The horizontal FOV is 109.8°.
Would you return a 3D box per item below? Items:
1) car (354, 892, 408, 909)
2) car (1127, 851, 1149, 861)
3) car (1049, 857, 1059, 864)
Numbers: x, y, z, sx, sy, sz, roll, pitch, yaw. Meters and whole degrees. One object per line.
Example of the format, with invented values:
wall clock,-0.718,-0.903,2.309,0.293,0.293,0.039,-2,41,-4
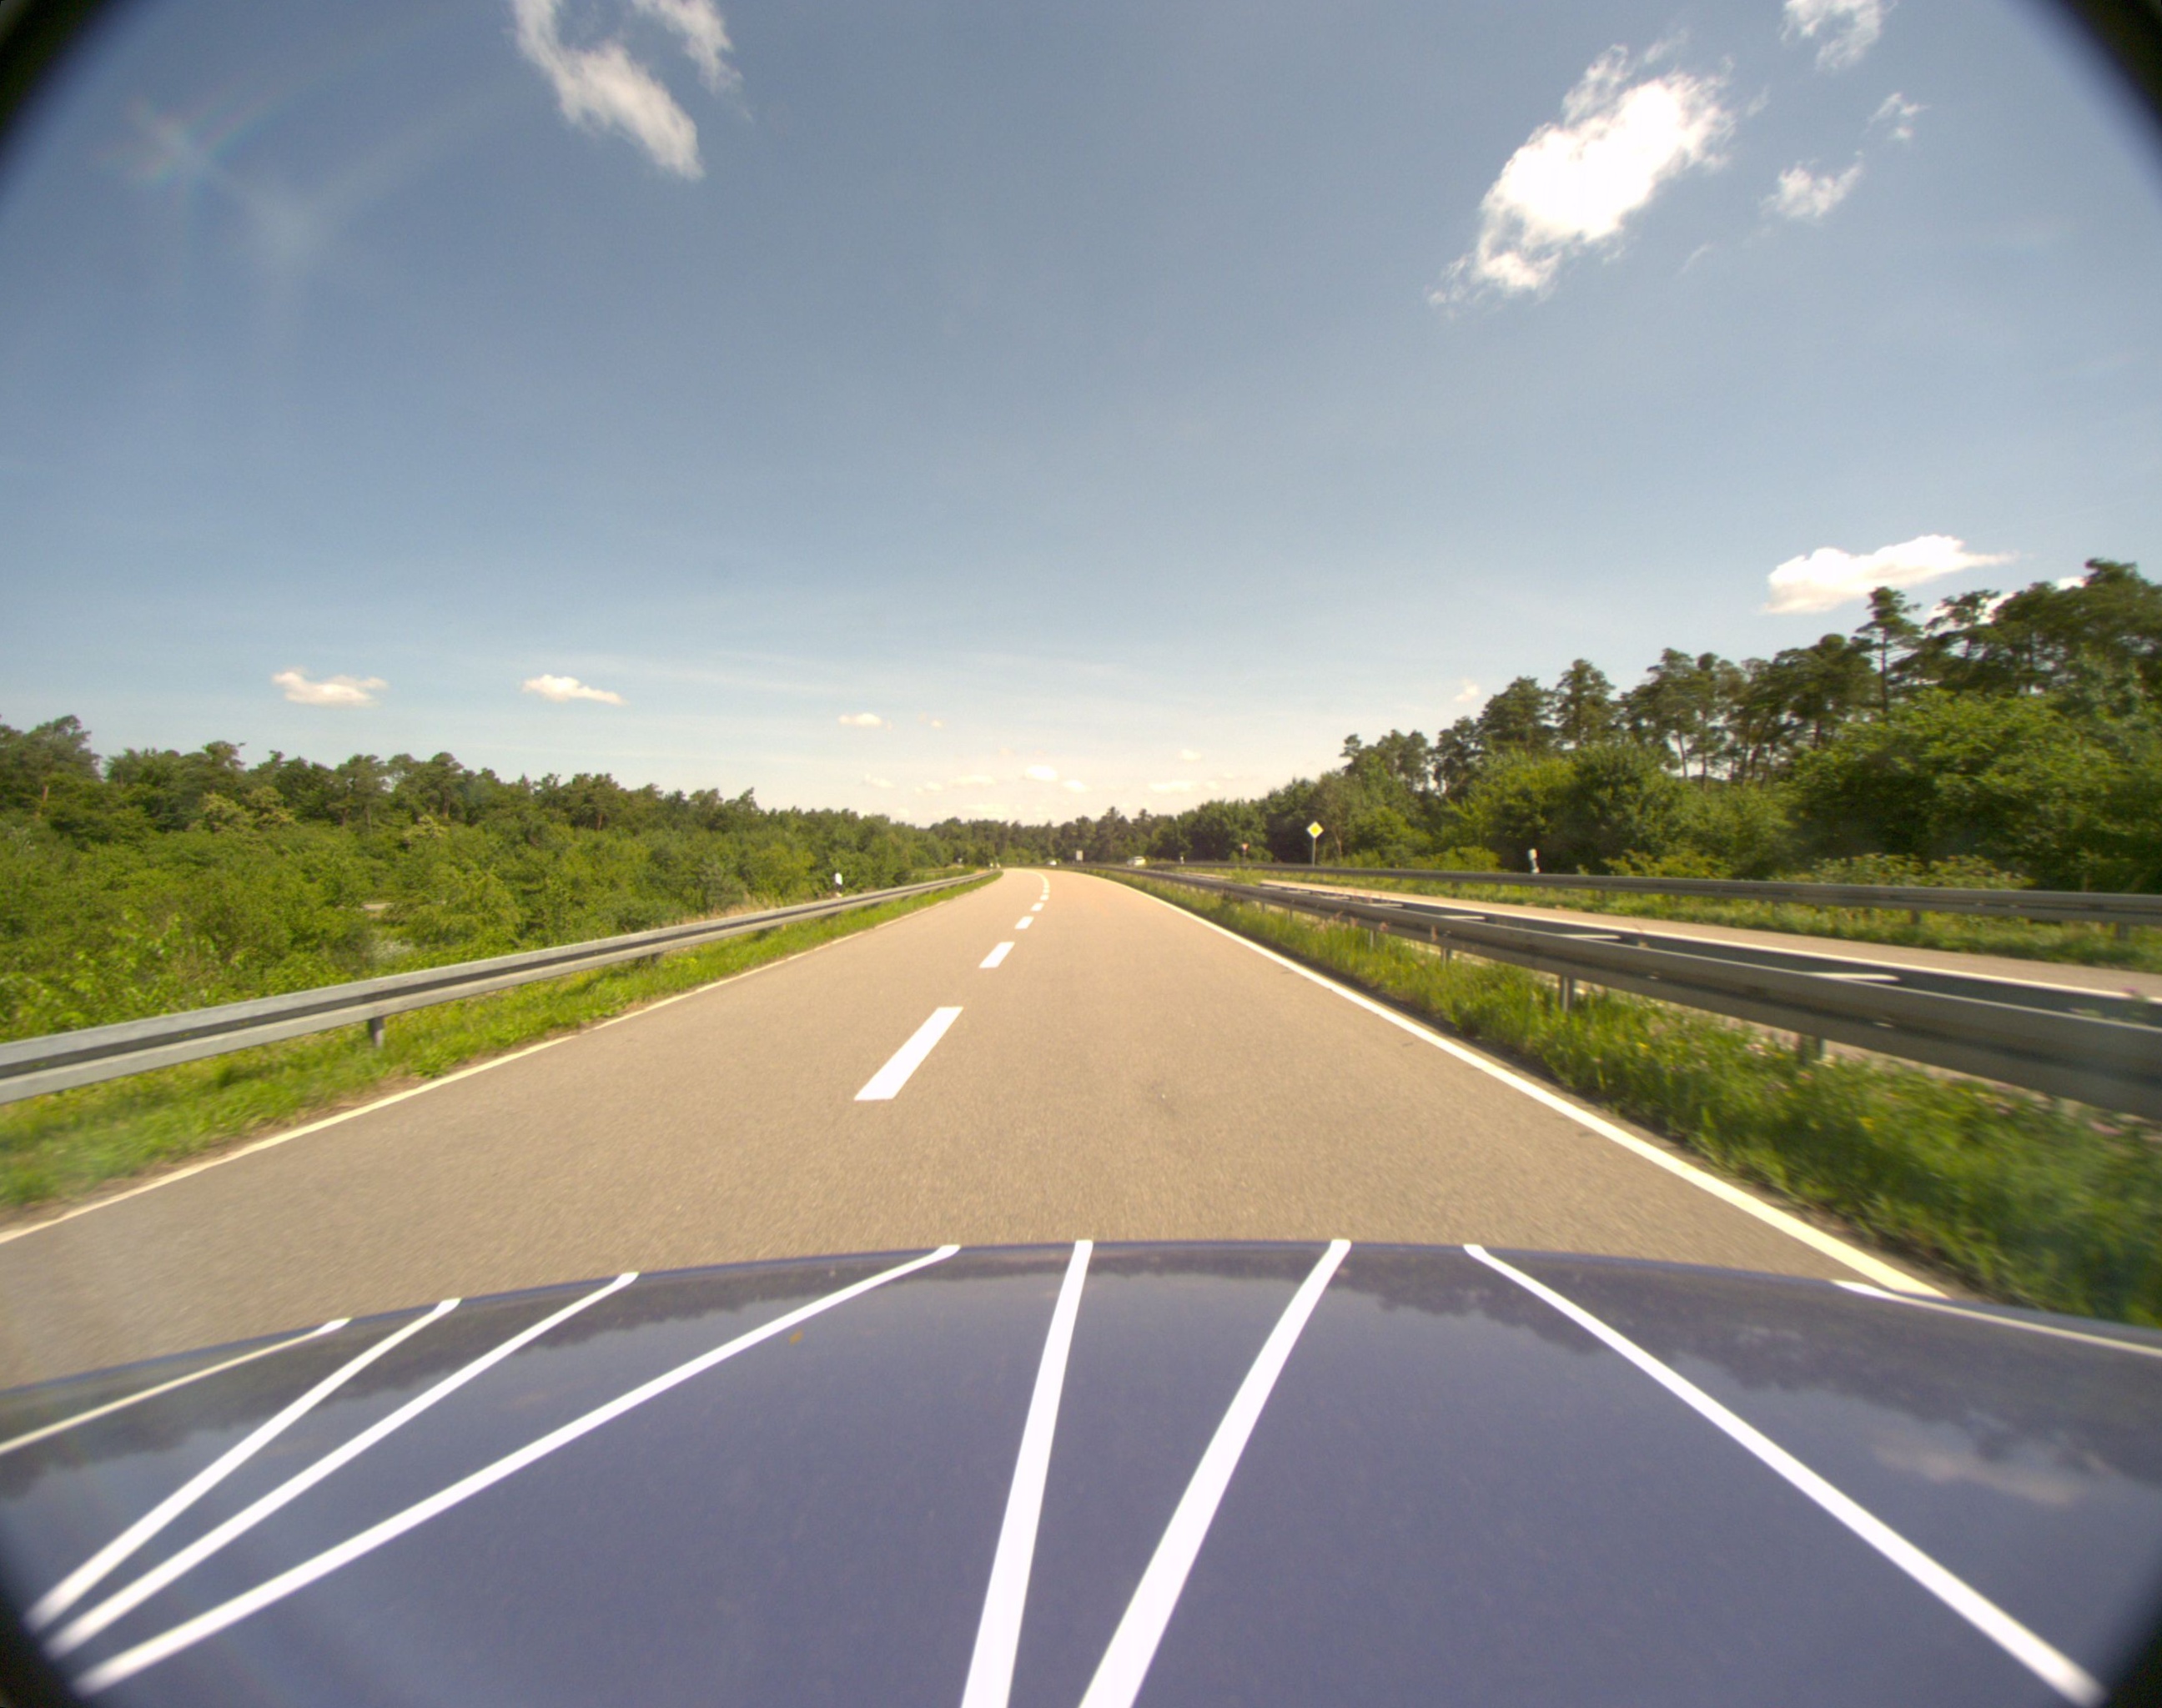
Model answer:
car,-89.700,5.923,97.428,1.895,1.656,4.673,-4,1,35
car,8.226,0.261,111.004,1.954,1.405,4.828,-1,0,-11
car,-6.284,1.573,179.217,1.684,1.419,4.207,-2,0,-11
